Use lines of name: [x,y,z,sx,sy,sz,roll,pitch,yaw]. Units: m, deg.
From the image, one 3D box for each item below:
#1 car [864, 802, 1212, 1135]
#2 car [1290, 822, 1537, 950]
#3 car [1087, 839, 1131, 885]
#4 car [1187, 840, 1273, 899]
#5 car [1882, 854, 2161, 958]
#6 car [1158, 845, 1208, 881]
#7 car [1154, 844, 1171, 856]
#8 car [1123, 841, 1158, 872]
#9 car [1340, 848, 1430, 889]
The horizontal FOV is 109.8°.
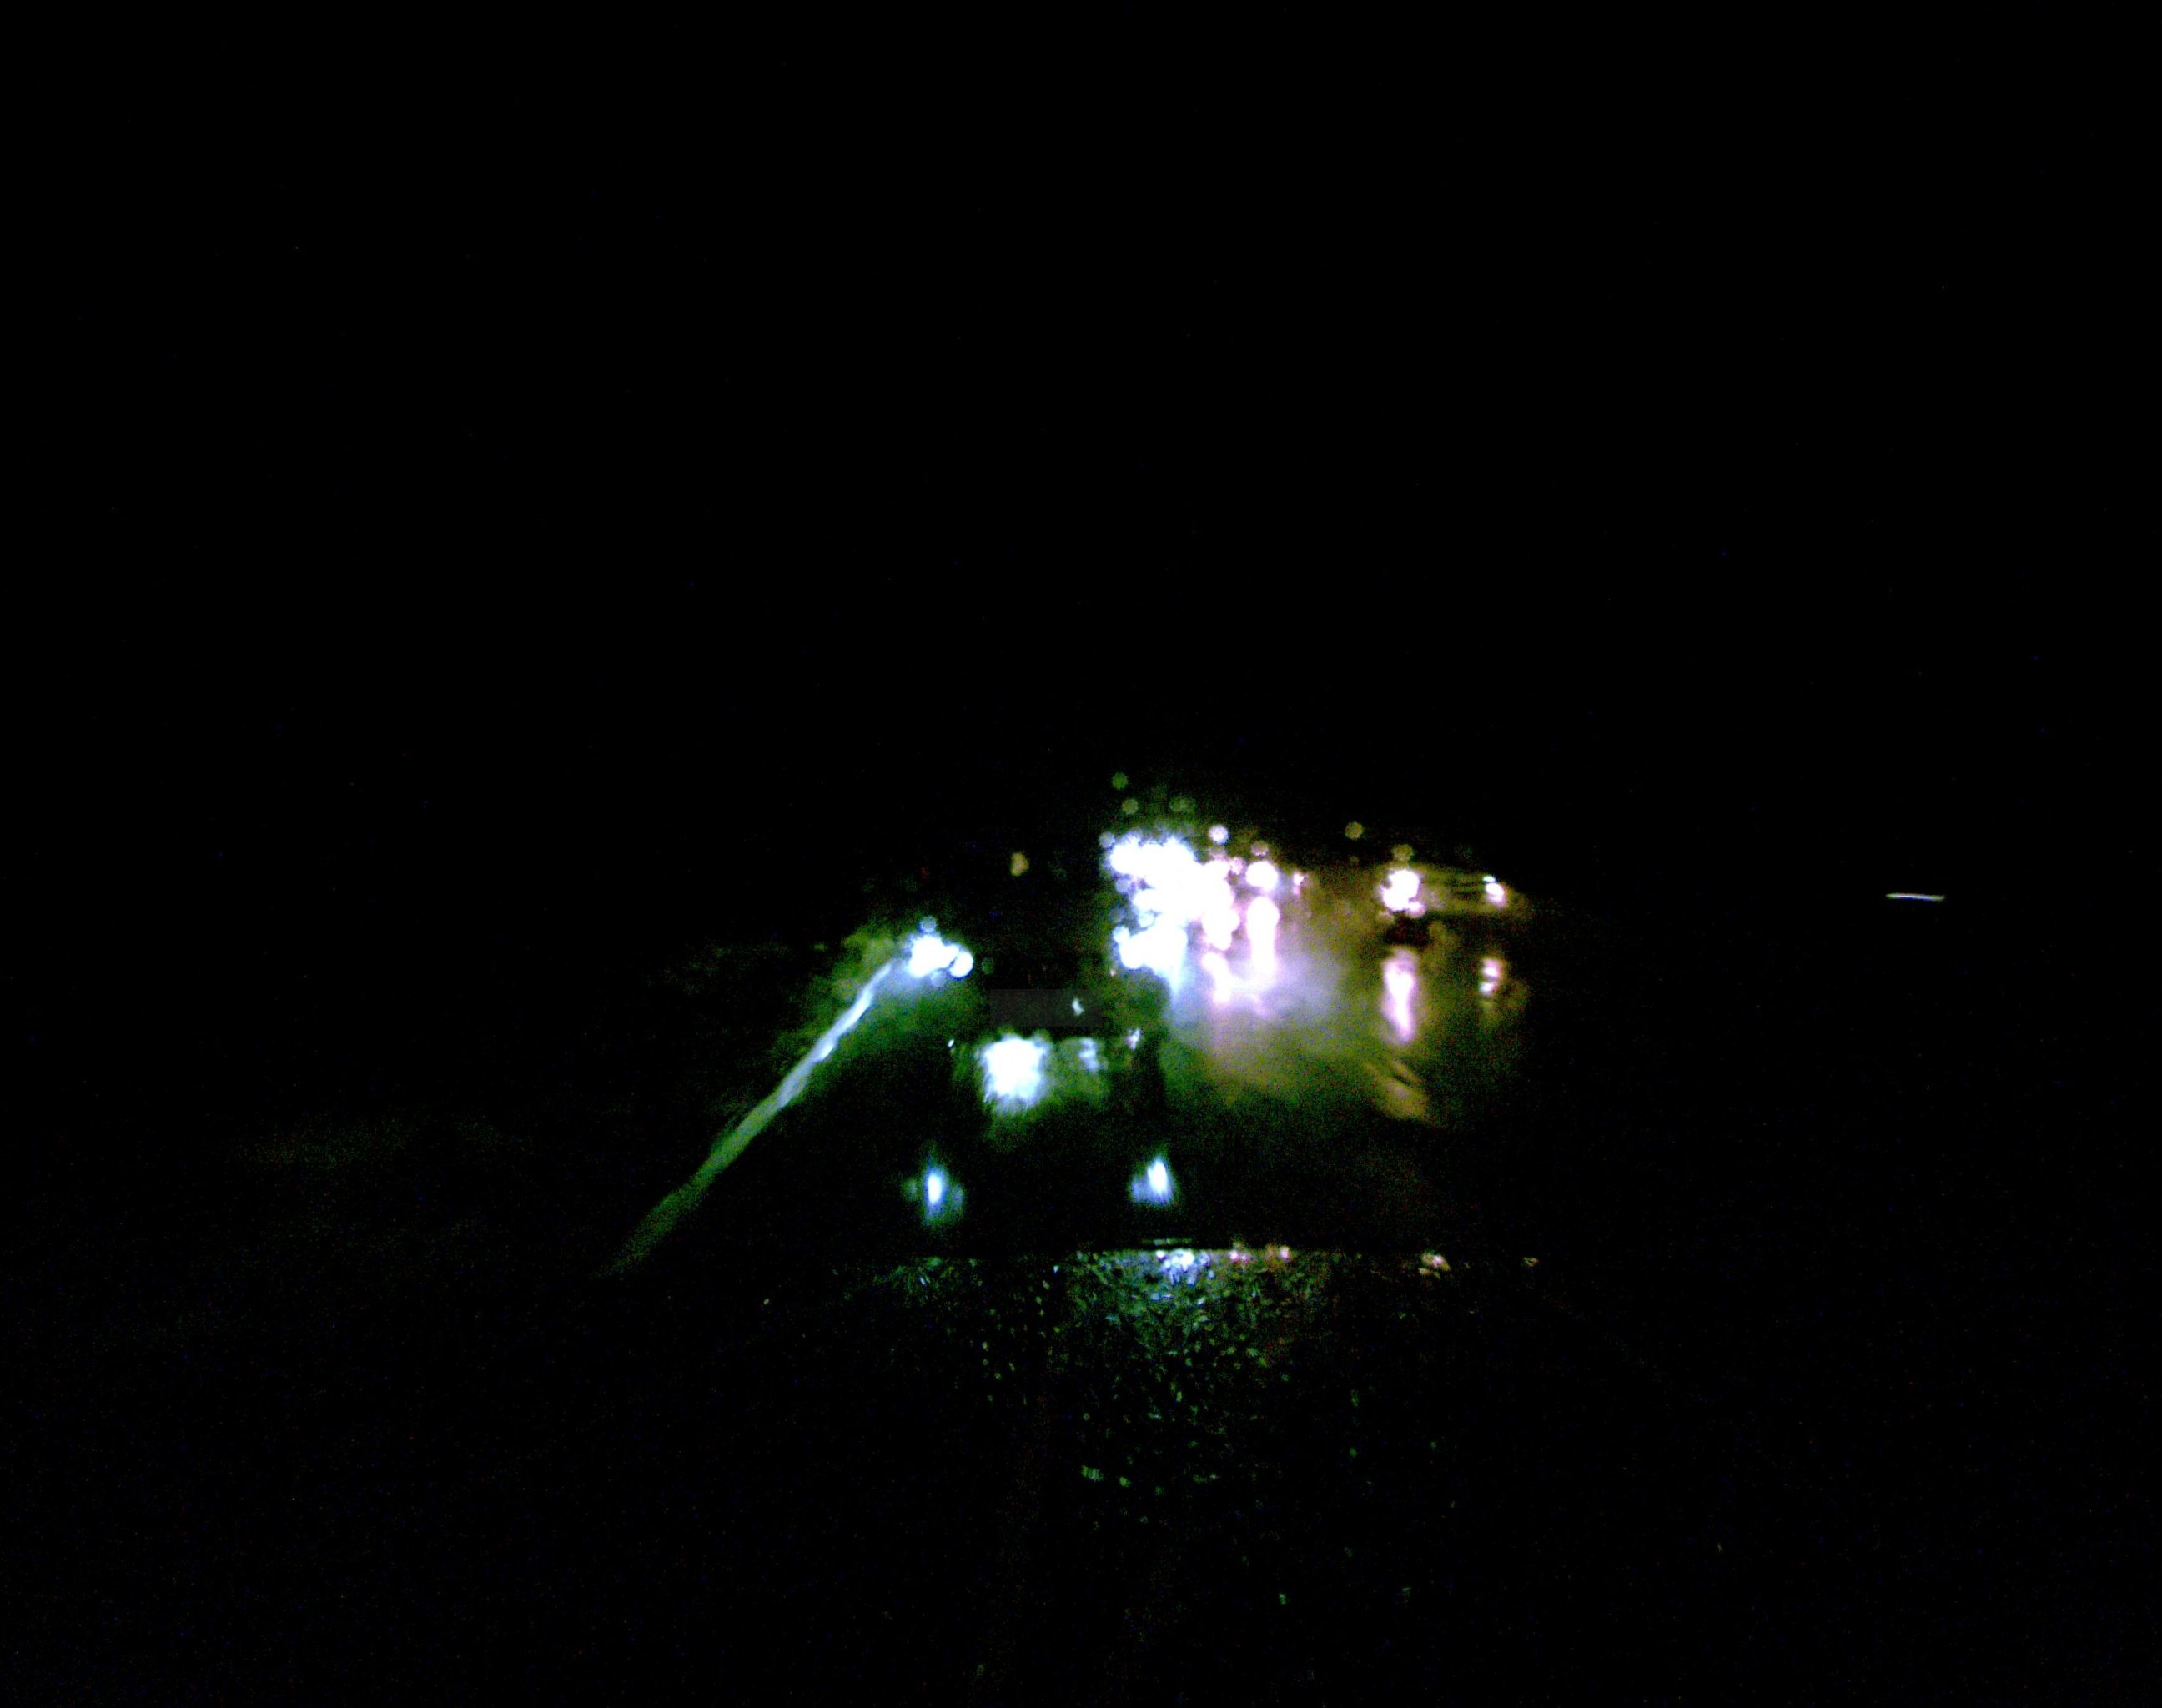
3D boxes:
car: [-0.325,0.612,6.688,2.003,1.915,4.367,-2,2,-2]
car: [5.533,0.404,13.473,1.999,1.783,4.718,-3,2,-4]
car: [1.195,0.292,33.794,1.781,1.820,4.556,-2,2,0]
car: [4.783,0.422,24.990,1.788,1.587,4.234,1,3,-2]
car: [16.546,0.858,12.187,1.933,1.454,4.784,6,0,-6]
car: [4.638,0.375,35.095,1.680,1.437,4.173,-2,2,0]
car: [13.083,-0.648,122.171,1.858,1.728,4.636,-2,2,-3]
car: [3.678,0.110,47.864,1.746,1.791,4.079,-2,2,-1]
car: [13.795,0.614,34.797,1.907,1.711,4.456,0,1,-6]
